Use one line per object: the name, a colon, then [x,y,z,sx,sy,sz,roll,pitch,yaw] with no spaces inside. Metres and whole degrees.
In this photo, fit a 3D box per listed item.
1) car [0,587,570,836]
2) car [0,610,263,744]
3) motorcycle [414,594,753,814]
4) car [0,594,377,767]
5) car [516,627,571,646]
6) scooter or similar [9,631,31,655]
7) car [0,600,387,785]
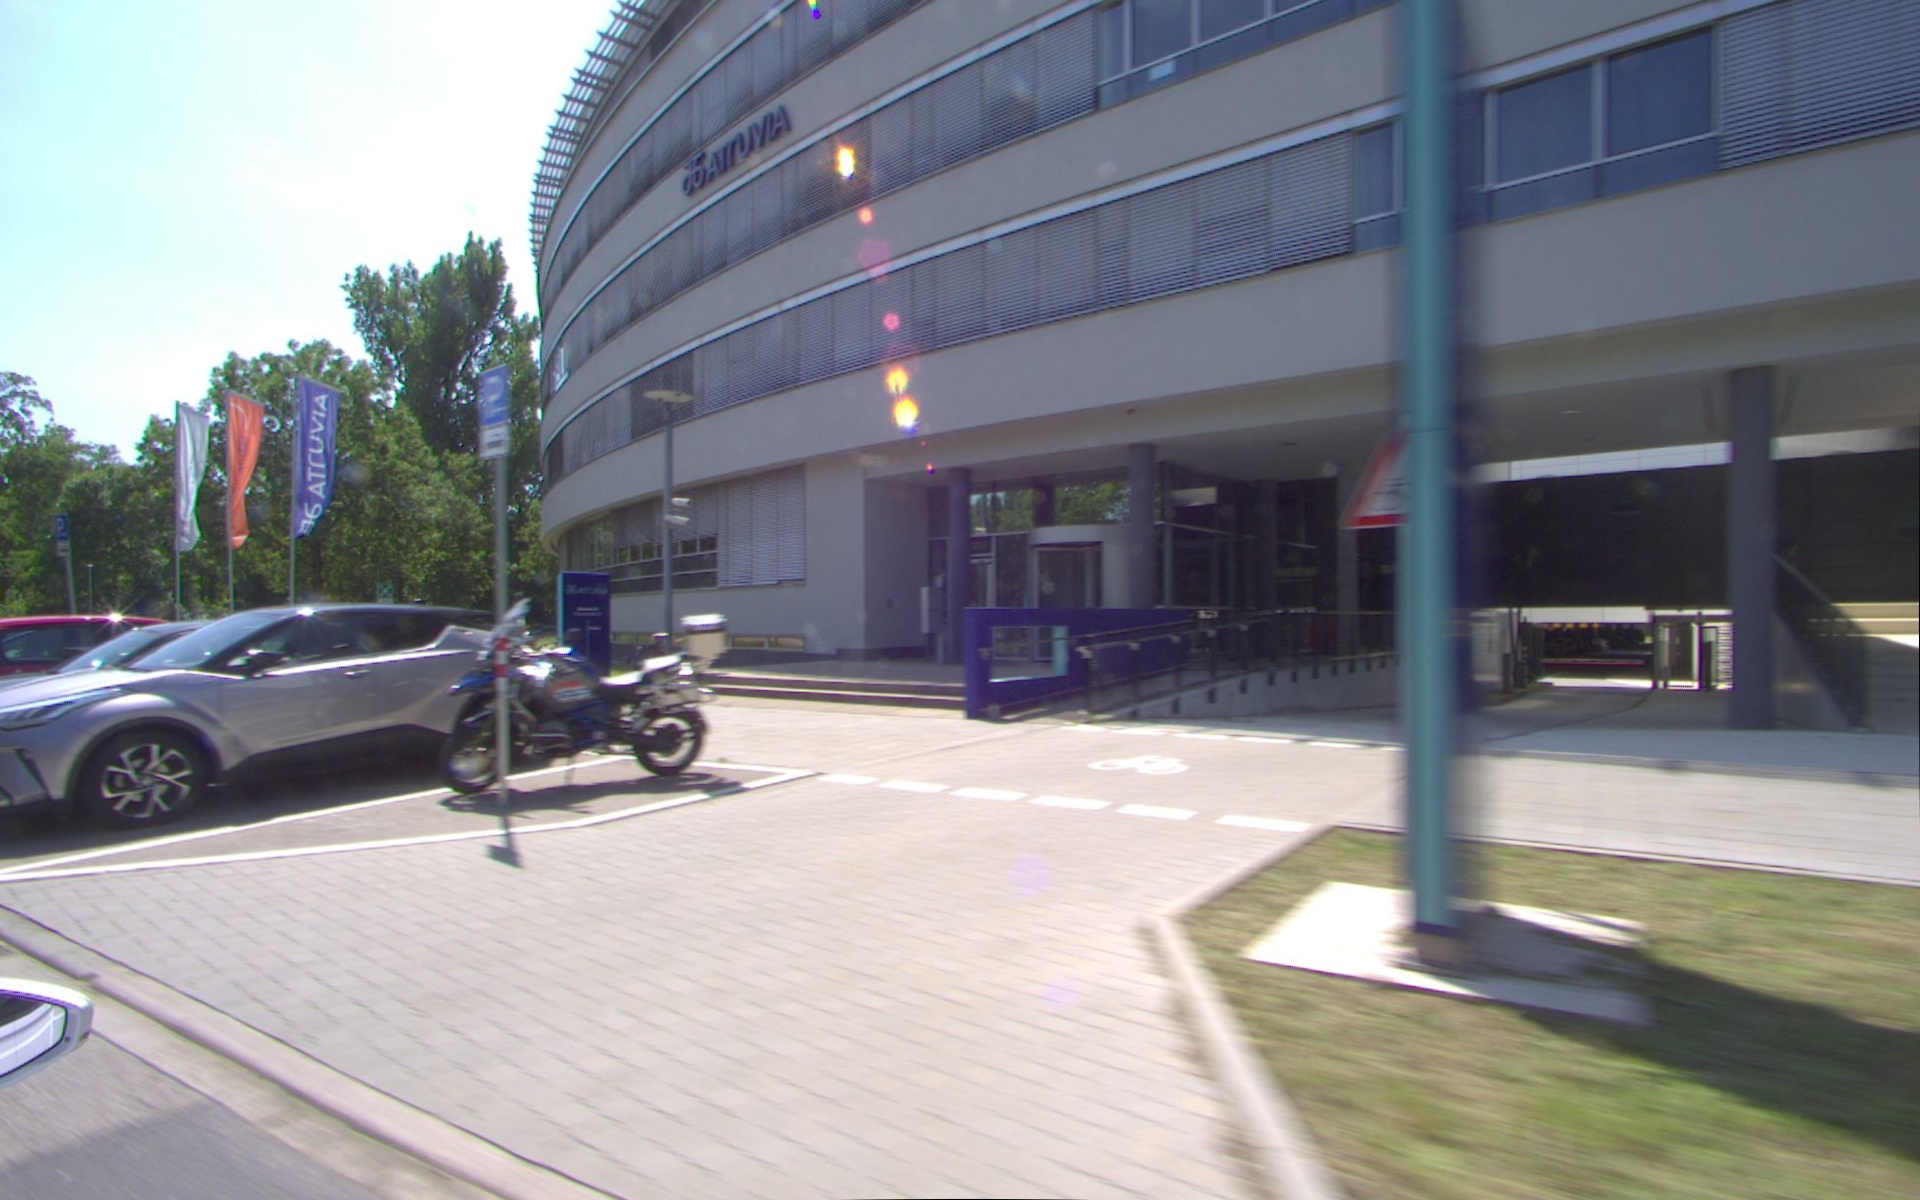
car: [-5.747,0.708,8.482,1.762,1.584,4.309,-1,0,34]
car: [-11.487,0.928,12.208,1.801,1.451,4.557,-1,1,32]
motorcycle: [-3.063,0.724,8.187,2.410,1.518,1.219,-1,2,-30]
car: [-9.197,0.806,11.459,1.815,1.676,3.975,-1,-1,35]
car: [-35.376,3.111,85.191,1.681,1.505,3.973,2,0,38]
scooter or similar: [-47.467,2.172,50.552,0.441,1.217,1.392,1,-2,-28]
car: [-7.870,0.776,9.595,1.633,1.505,3.796,-1,0,35]
